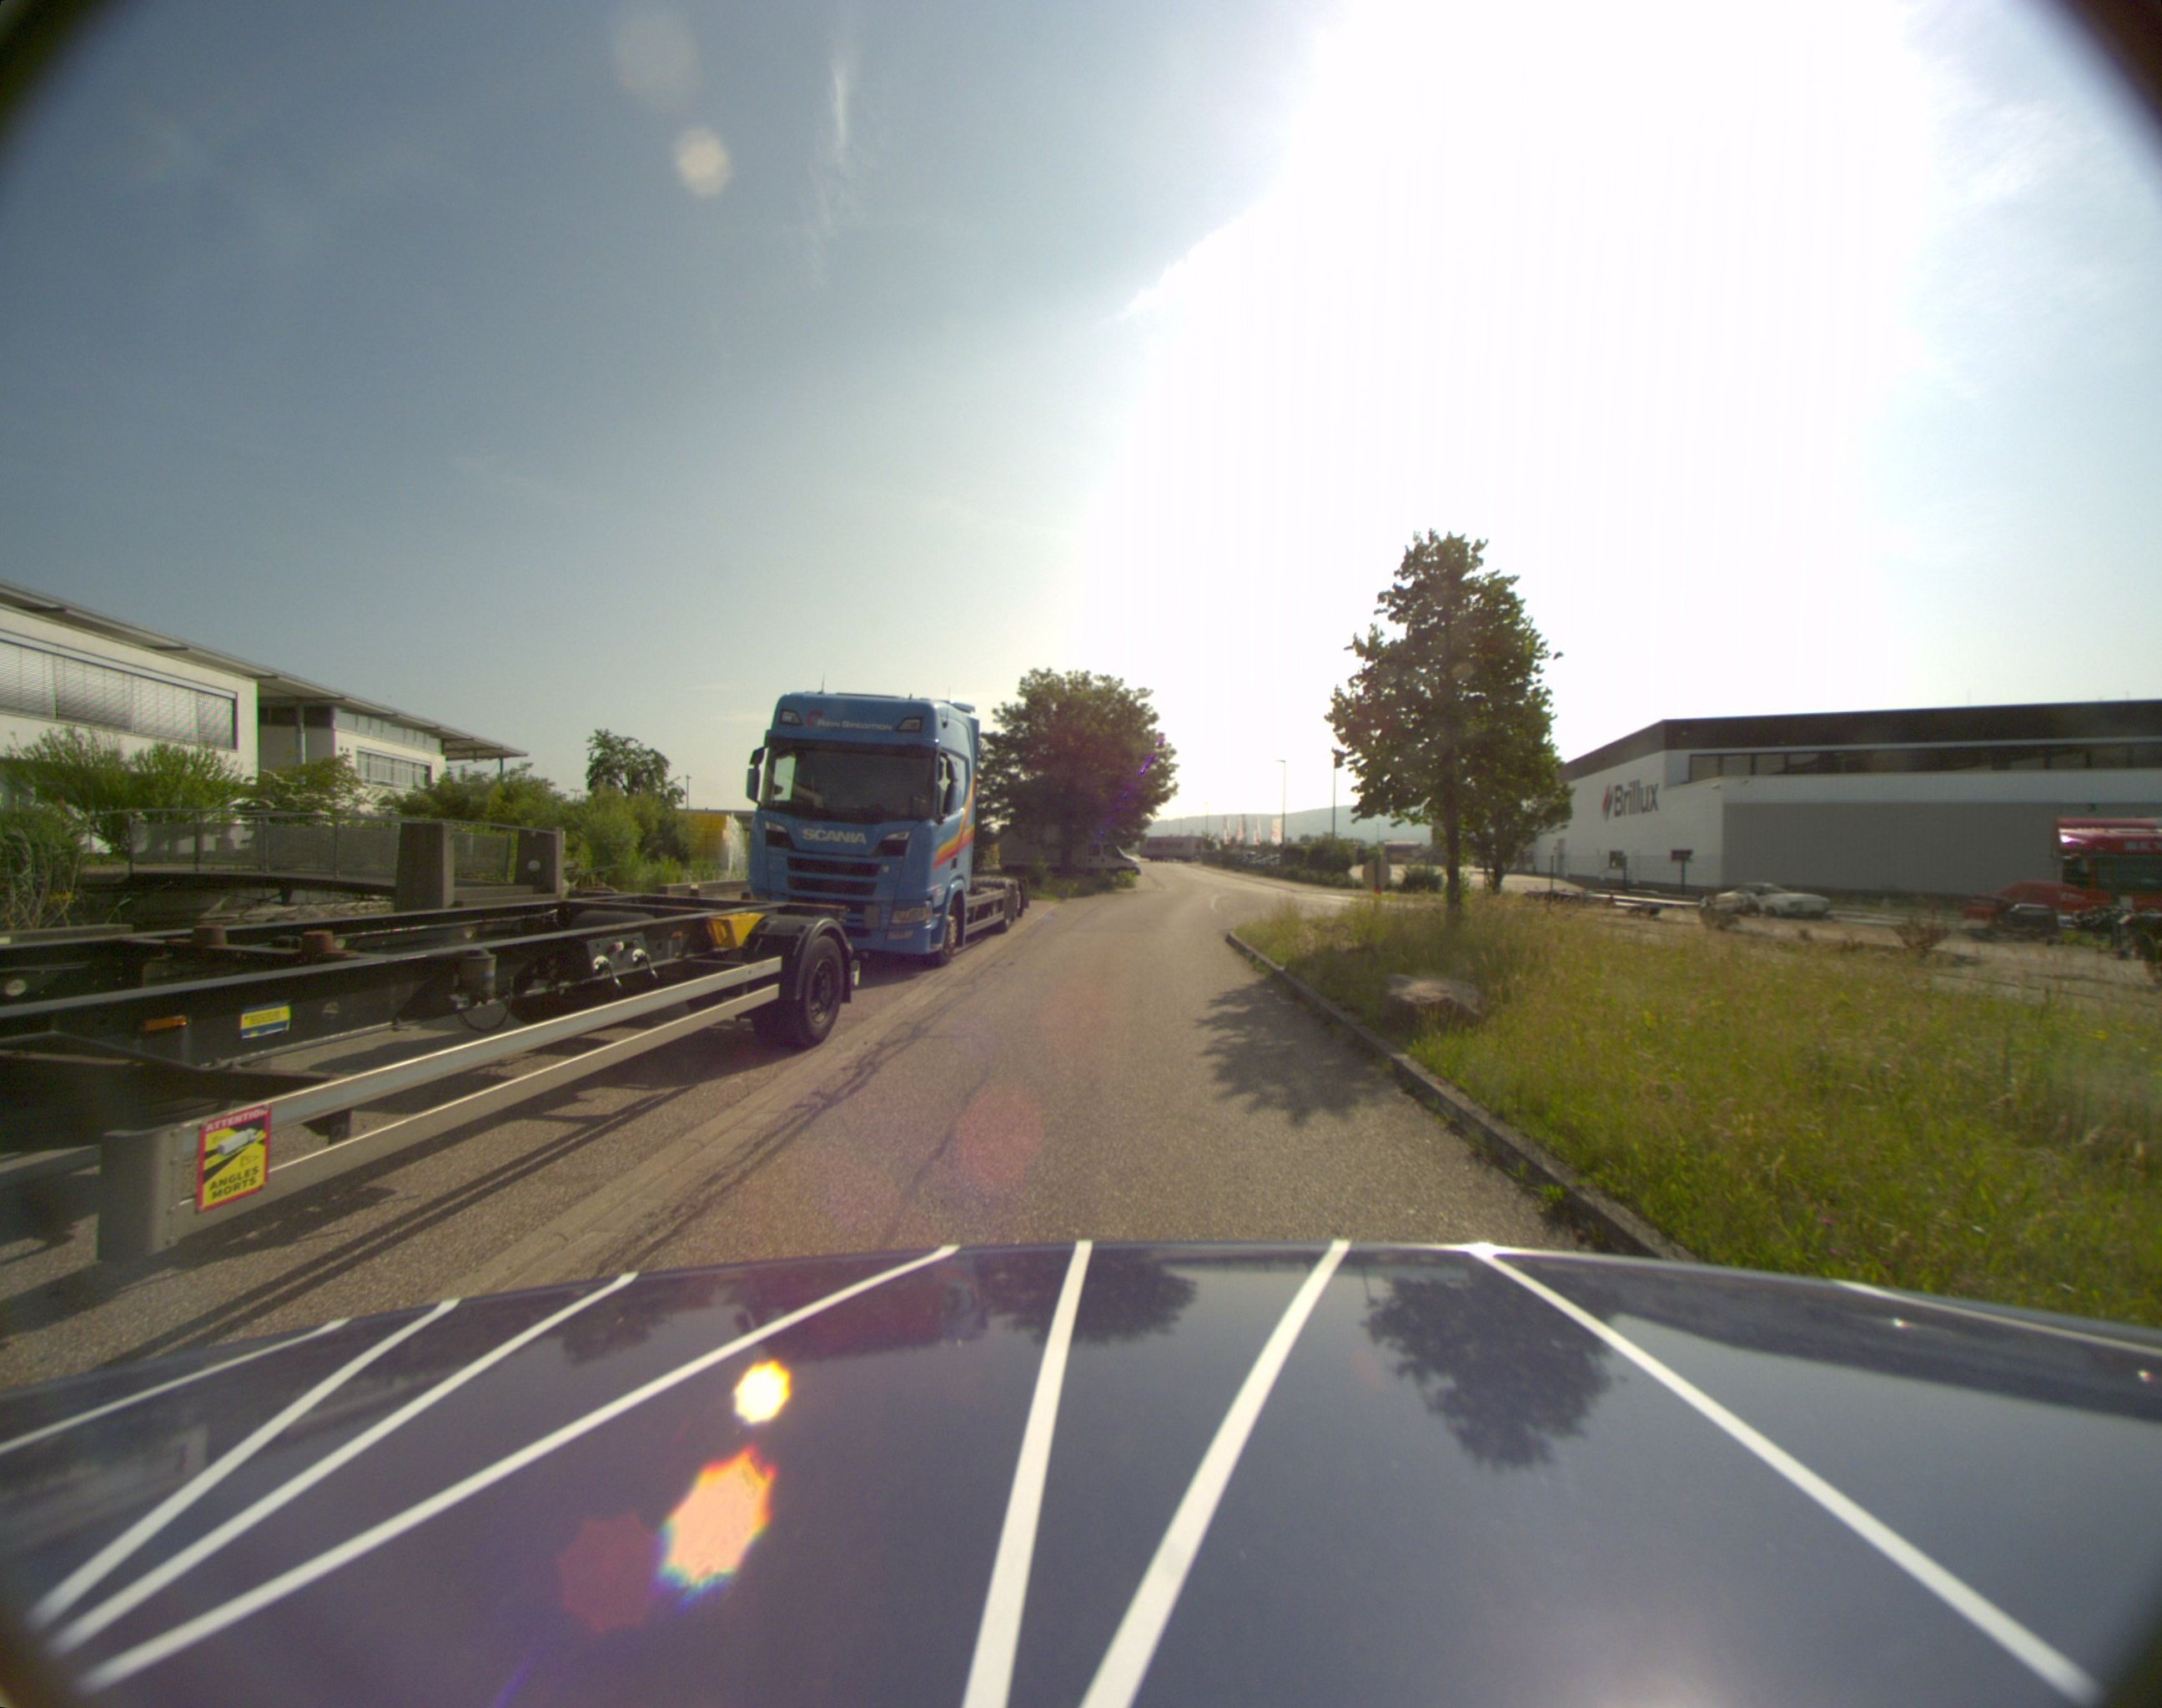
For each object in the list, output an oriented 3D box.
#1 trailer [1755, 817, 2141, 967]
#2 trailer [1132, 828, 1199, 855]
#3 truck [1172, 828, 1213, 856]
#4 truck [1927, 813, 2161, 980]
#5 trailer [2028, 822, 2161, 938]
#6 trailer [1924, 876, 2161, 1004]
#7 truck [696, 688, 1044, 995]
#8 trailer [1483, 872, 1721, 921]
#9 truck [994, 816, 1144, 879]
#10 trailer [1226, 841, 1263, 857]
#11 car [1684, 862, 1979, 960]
[{"bbox_3d":[29.231,0.811,27.179,2.484,4.019,13.904,-1,2,19],"label":"trailer"},{"bbox_3d":[13.676,-1.999,125.275,3.505,4.183,14.199,-2,2,-28],"label":"trailer"},{"bbox_3d":[17.418,-1.867,118.684,3.402,4.184,6.084,-2,2,-27],"label":"truck"},{"bbox_3d":[27.117,0.952,21.013,2.516,4.048,5.549,-1,2,18],"label":"truck"},{"bbox_3d":[38.032,0.925,24.128,2.857,3.984,14.028,-1,1,19],"label":"trailer"},{"bbox_3d":[14.454,1.082,9.360,2.687,1.445,5.078,0,0,4],"label":"trailer"},{"bbox_3d":[-2.822,-0.268,14.038,2.894,3.515,9.755,4,2,4],"label":"truck"},{"bbox_3d":[14.735,1.135,22.267,2.553,0.920,6.710,-3,0,2],"label":"trailer"},{"bbox_3d":[-0.639,-0.402,43.290,8.227,3.351,2.741,1,2,2],"label":"truck"},{"bbox_3d":[30.279,-0.940,140.685,6.313,2.590,2.858,2,1,17],"label":"trailer"},{"bbox_3d":[14.436,0.994,15.052,1.699,1.552,4.336,-2,0,3],"label":"car"}]
